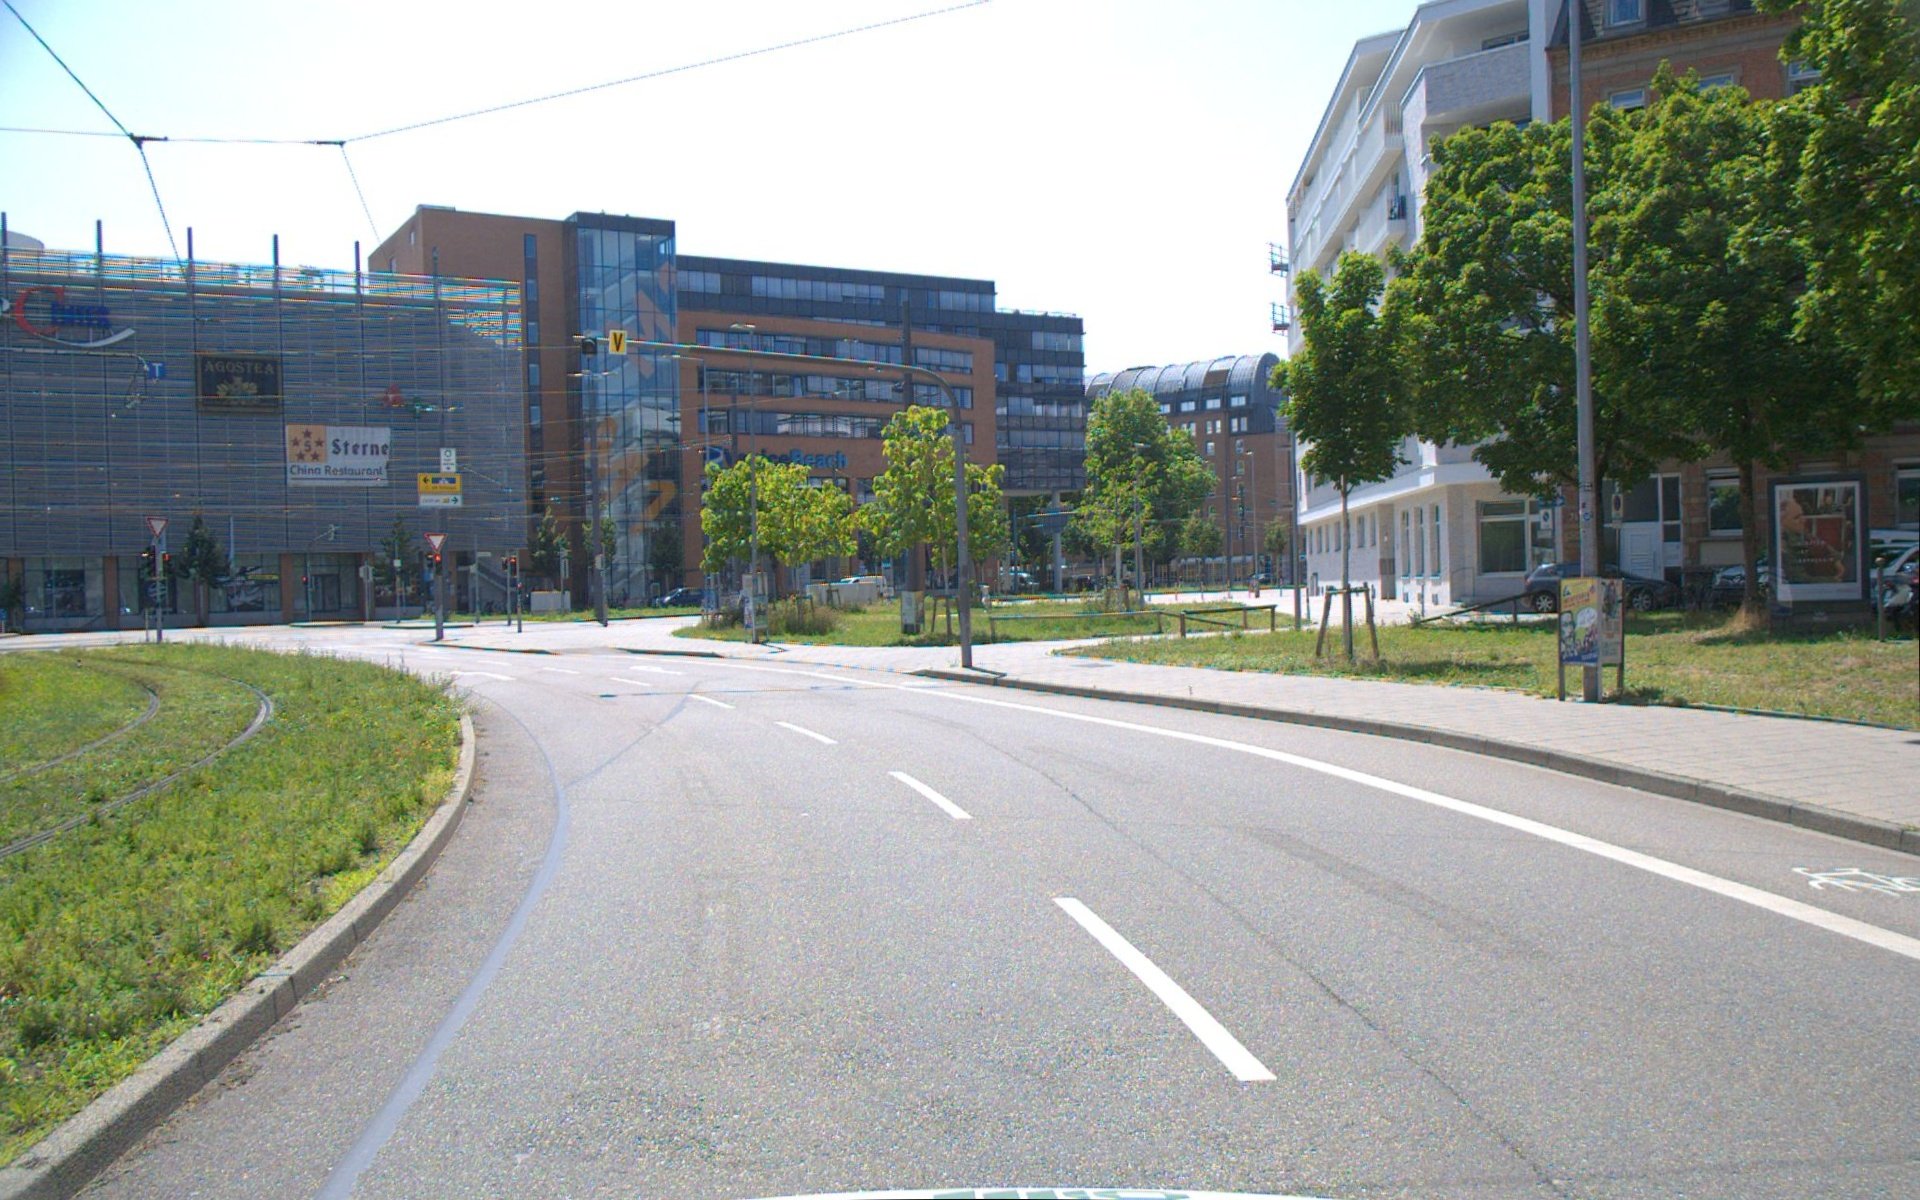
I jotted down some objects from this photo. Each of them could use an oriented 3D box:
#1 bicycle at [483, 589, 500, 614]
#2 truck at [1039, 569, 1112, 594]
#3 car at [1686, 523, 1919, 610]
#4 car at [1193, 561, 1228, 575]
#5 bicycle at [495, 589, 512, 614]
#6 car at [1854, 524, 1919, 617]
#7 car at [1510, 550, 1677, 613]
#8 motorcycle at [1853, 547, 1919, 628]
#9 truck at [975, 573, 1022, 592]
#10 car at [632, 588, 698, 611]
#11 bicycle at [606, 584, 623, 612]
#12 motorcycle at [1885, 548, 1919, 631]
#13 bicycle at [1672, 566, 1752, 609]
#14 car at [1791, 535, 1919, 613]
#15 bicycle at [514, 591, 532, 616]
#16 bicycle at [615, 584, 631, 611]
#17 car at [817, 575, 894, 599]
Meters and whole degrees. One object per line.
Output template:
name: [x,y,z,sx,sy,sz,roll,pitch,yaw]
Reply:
bicycle: [-33.246,0.114,117.403,0.592,1.761,2.236,-1,1,-31]
truck: [13.736,-2.219,197.599,9.059,2.858,1.992,0,1,38]
car: [16.941,-0.674,32.832,4.791,1.628,1.824,-1,1,-22]
car: [31.119,-3.998,205.763,3.920,1.758,1.860,0,1,36]
bicycle: [-32.509,0.115,117.845,0.592,1.761,2.236,-1,1,-31]
car: [16.635,-0.503,27.039,3.806,1.457,1.595,-1,1,-24]
car: [17.512,-0.496,45.775,4.046,1.653,1.690,0,1,35]
motorcycle: [13.885,-0.191,23.822,1.785,1.140,0.528,-1,0,-2]
truck: [4.533,-2.048,193.351,5.267,2.049,1.877,0,1,33]
car: [-19.559,-0.036,109.744,3.951,1.467,1.723,-1,1,-34]
bicycle: [-25.826,-0.163,123.591,0.480,2.049,2.323,-1,1,-30]
motorcycle: [13.680,-0.158,22.875,1.488,1.140,0.478,-1,0,5]
bicycle: [17.164,-0.292,37.732,2.019,0.952,0.504,-1,1,-26]
car: [17.455,-0.488,30.413,3.932,1.355,1.747,-1,1,-22]
bicycle: [-31.316,0.248,118.523,0.592,1.761,2.236,-1,1,-31]
bicycle: [-25.268,-0.181,123.943,0.480,2.049,2.323,-1,1,-30]
car: [-7.610,-0.958,120.764,5.425,1.697,1.973,-1,1,-38]
